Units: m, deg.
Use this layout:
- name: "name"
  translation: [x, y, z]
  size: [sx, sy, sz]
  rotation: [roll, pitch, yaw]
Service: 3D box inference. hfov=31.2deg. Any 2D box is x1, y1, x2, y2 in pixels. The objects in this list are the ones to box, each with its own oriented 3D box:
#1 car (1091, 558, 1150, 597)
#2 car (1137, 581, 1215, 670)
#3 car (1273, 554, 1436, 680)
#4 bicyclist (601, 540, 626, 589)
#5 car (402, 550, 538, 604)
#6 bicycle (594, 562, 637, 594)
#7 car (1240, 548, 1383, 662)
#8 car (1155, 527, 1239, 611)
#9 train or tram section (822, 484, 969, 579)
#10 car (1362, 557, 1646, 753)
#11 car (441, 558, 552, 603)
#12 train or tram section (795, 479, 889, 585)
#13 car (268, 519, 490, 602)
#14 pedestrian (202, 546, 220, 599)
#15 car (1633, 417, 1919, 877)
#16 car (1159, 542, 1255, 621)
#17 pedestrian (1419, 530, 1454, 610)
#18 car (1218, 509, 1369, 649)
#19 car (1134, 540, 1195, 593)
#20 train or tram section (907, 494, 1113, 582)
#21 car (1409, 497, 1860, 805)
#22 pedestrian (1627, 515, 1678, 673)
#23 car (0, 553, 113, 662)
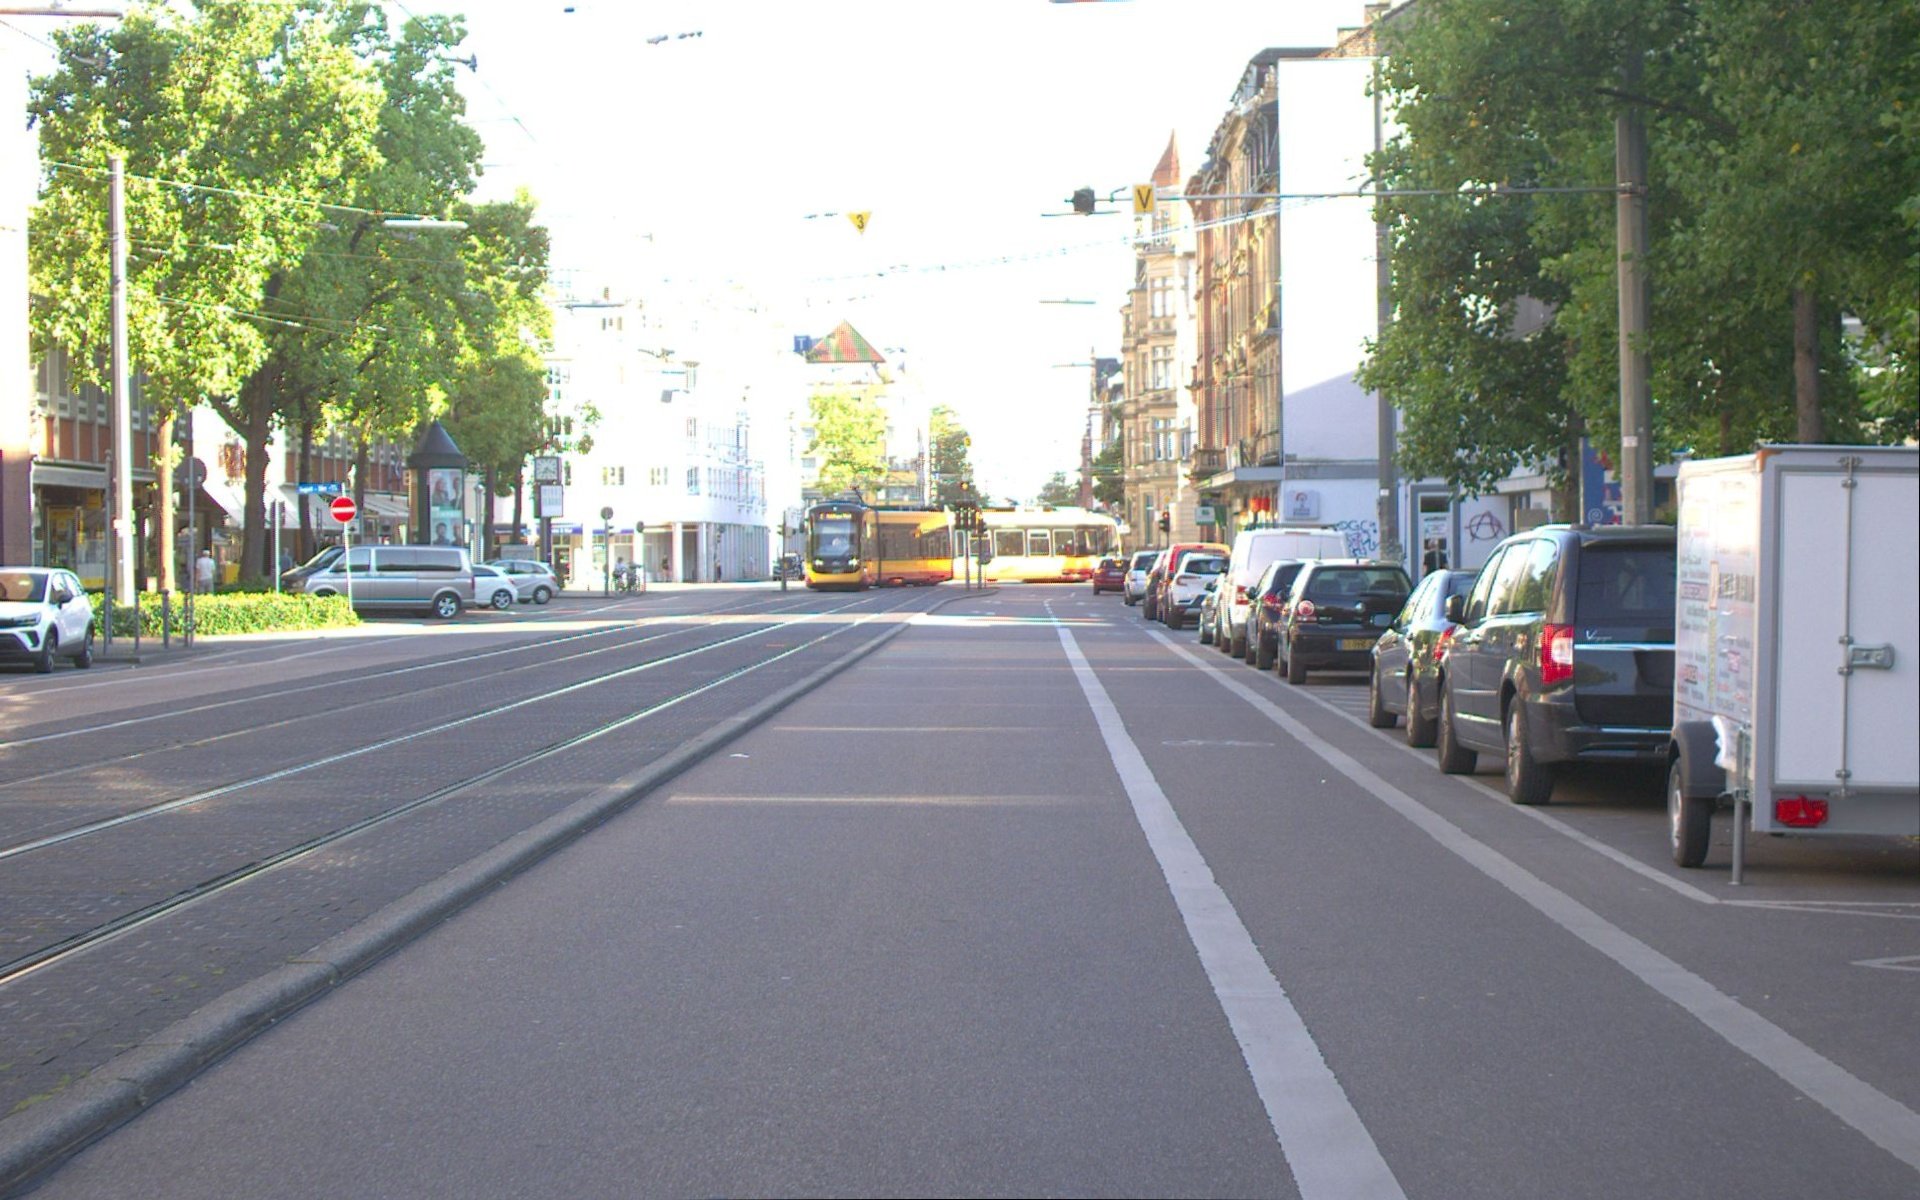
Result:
- name: "car"
  translation: [6.091, -0.864, 131.006]
  size: [2.065, 1.384, 4.225]
  rotation: [2, 1, 1]
- name: "car"
  translation: [5.117, 0.580, 81.747]
  size: [1.621, 2.000, 3.831]
  rotation: [1, 1, 1]
- name: "car"
  translation: [4.711, 0.163, 41.481]
  size: [1.621, 1.427, 3.984]
  rotation: [0, 1, 2]
- name: "bicyclist"
  translation: [-14.233, -1.454, 141.299]
  size: [0.698, 2.007, 0.724]
  rotation: [1, 1, -37]
- name: "car"
  translation: [-15.756, -0.732, 110.575]
  size: [3.868, 1.622, 1.876]
  rotation: [1, 1, -29]
- name: "bicycle"
  translation: [-14.165, -0.923, 141.207]
  size: [0.698, 1.235, 2.026]
  rotation: [1, 1, -40]
- name: "car"
  translation: [4.751, 0.034, 46.844]
  size: [1.621, 1.468, 3.970]
  rotation: [1, 1, 1]
- name: "car"
  translation: [5.326, -0.716, 77.517]
  size: [1.621, 1.807, 4.083]
  rotation: [1, 1, 1]
- name: "train or tram section"
  translation: [-2.683, -2.894, 149.590]
  size: [2.694, 3.865, 12.834]
  rotation: [2, 1, 16]
- name: "car"
  translation: [4.538, 0.403, 29.300]
  size: [1.716, 1.422, 4.675]
  rotation: [0, 2, 1]
- name: "car"
  translation: [-16.264, -0.679, 120.652]
  size: [3.519, 1.476, 1.582]
  rotation: [1, 1, -31]
- name: "train or tram section"
  translation: [-4.634, -2.702, 137.677]
  size: [2.692, 3.946, 12.089]
  rotation: [2, 1, 3]
- name: "car"
  translation: [-15.426, -1.015, 91.277]
  size: [5.252, 2.036, 2.419]
  rotation: [1, -1, -31]
- name: "pedestrian"
  translation: [-19.164, -0.705, 87.976]
  size: [0.362, 1.338, 0.483]
  rotation: [2, 1, -19]
- name: "car"
  translation: [4.556, 0.205, 17.632]
  size: [1.705, 2.112, 3.706]
  rotation: [0, 0, 4]
- name: "car"
  translation: [5.108, -0.413, 71.433]
  size: [1.723, 1.562, 4.083]
  rotation: [-1, 1, 1]
- name: "pedestrian"
  translation: [10.192, -0.645, 73.538]
  size: [0.661, 1.716, 0.835]
  rotation: [0, 1, 2]
- name: "car"
  translation: [5.065, -0.348, 52.712]
  size: [1.971, 2.007, 4.558]
  rotation: [-2, 1, 2]
- name: "car"
  translation: [6.184, -1.026, 104.420]
  size: [1.621, 1.550, 4.083]
  rotation: [1, 1, 1]
- name: "train or tram section"
  translation: [2.429, -2.855, 159.747]
  size: [2.699, 3.739, 11.260]
  rotation: [3, 1, 42]
- name: "car"
  translation: [4.325, 0.266, 22.918]
  size: [1.949, 1.782, 5.181]
  rotation: [1, 1, 0]
- name: "pedestrian"
  translation: [7.692, -0.069, 38.181]
  size: [0.426, 1.704, 0.453]
  rotation: [-2, 5, 19]
- name: "car"
  translation: [-14.535, 0.083, 53.277]
  size: [1.869, 1.594, 4.254]
  rotation: [0, 1, -2]
